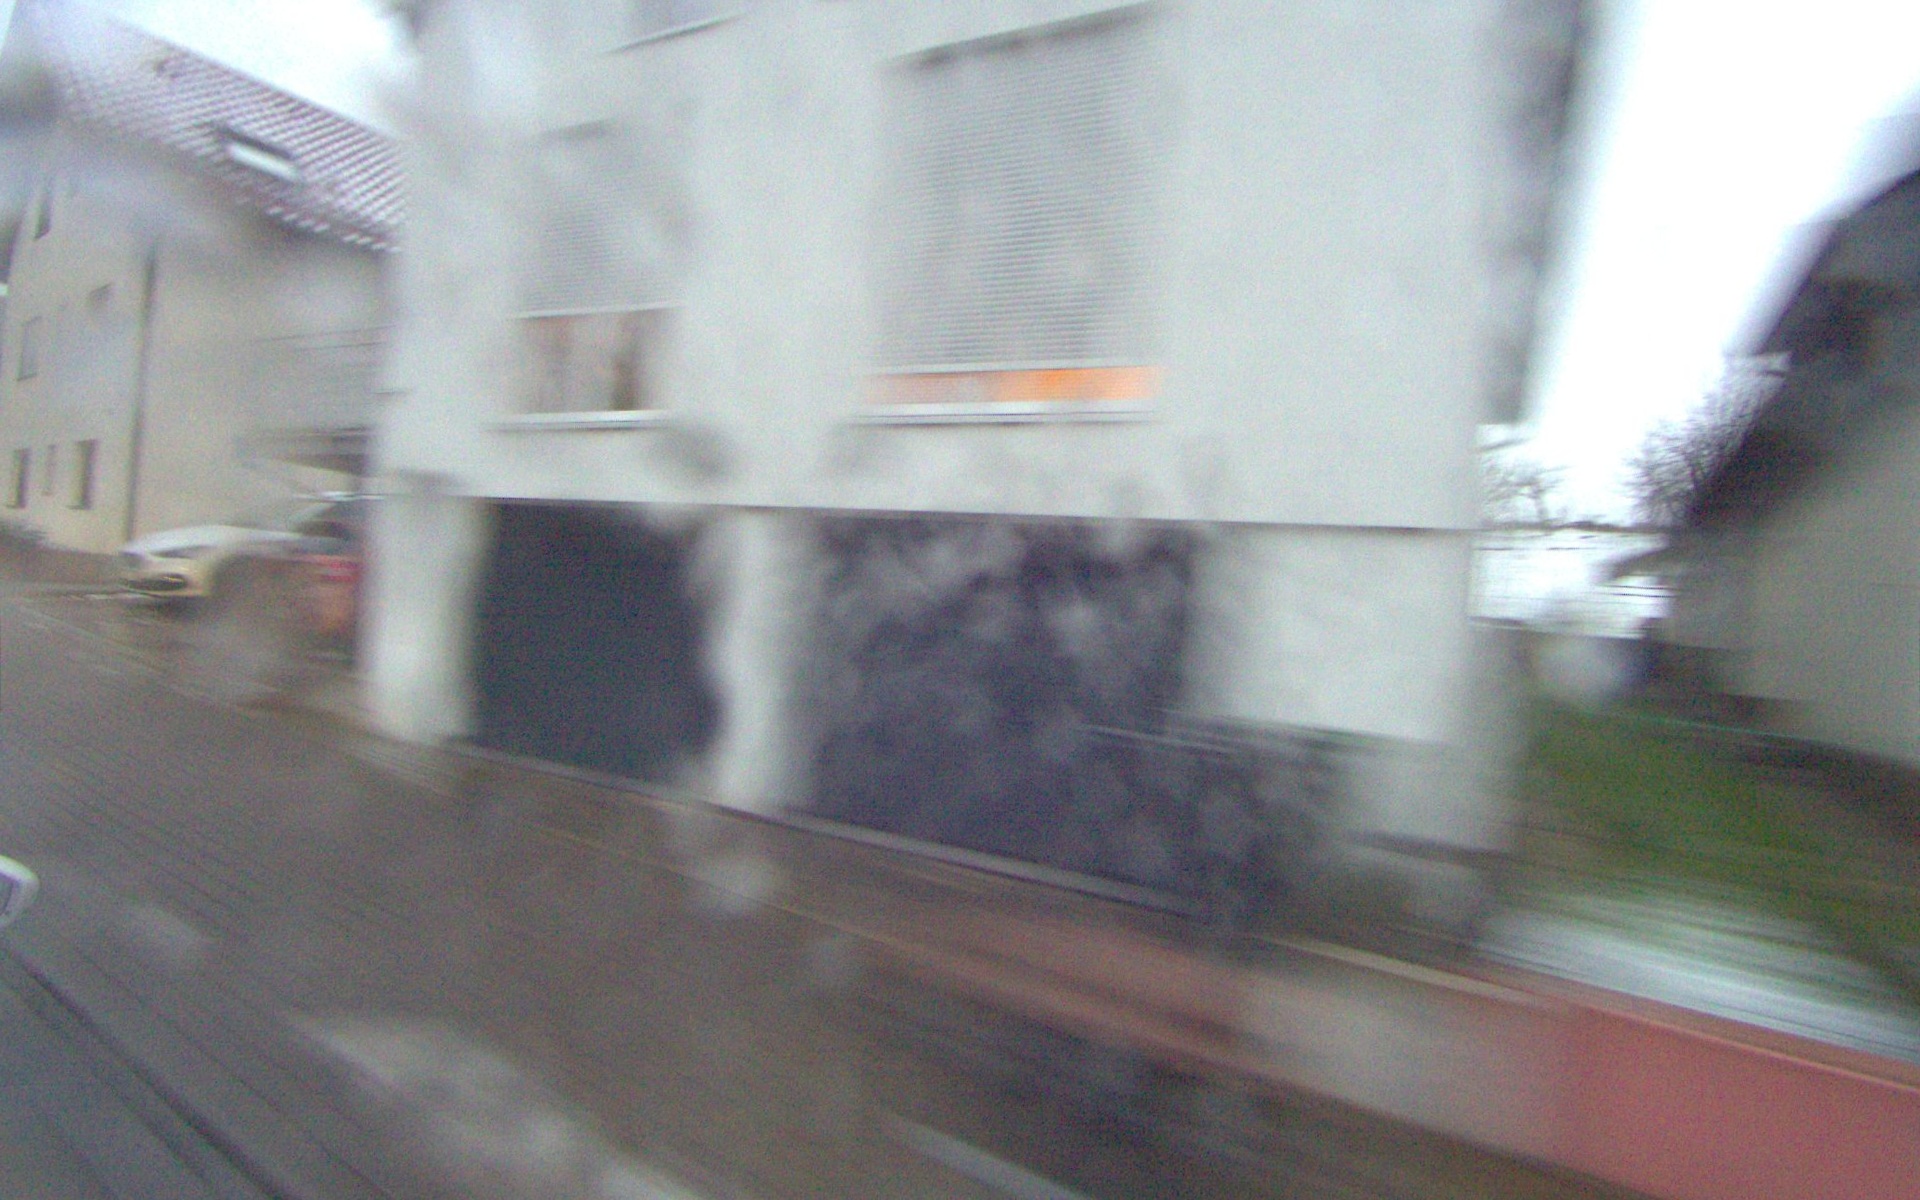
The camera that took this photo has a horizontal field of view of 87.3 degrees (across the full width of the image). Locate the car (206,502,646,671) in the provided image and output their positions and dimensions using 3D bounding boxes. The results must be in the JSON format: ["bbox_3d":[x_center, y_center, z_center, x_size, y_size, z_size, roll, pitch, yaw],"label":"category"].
[{"bbox_3d":[-5.614,-0.062,11.139,1.661,1.475,3.993,5,-1,28],"label":"car"}]

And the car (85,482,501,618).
[{"bbox_3d":[-8.680,-0.762,13.507,1.751,1.479,4.268,7,8,34],"label":"car"}]

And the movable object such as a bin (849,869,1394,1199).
[{"bbox_3d":[0.244,1.011,1.524,0.585,0.959,0.613,6,4,34],"label":"movable object such as a bin"}]

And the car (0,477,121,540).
[{"bbox_3d":[-27.066,-2.723,28.743,1.973,1.462,4.493,8,2,42],"label":"car"}]
